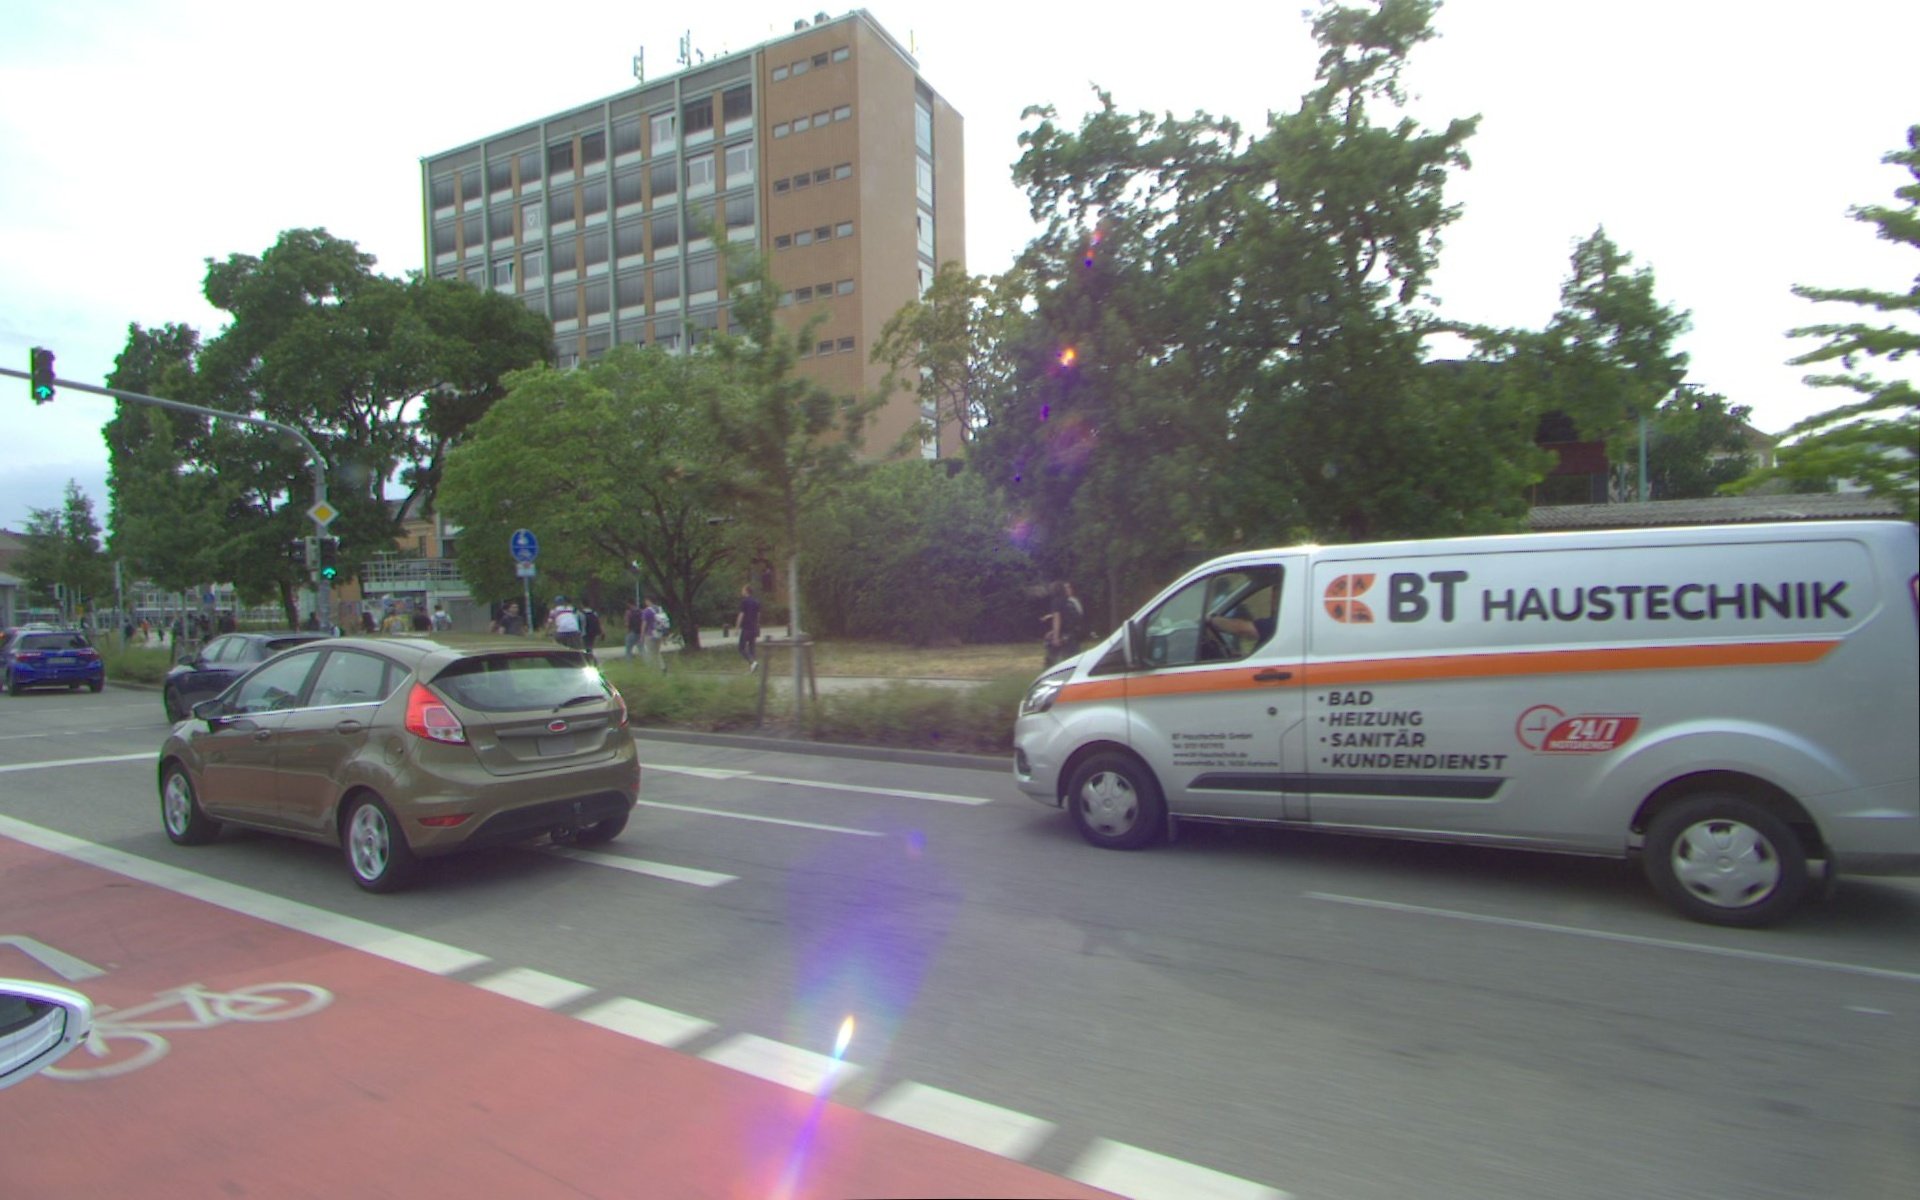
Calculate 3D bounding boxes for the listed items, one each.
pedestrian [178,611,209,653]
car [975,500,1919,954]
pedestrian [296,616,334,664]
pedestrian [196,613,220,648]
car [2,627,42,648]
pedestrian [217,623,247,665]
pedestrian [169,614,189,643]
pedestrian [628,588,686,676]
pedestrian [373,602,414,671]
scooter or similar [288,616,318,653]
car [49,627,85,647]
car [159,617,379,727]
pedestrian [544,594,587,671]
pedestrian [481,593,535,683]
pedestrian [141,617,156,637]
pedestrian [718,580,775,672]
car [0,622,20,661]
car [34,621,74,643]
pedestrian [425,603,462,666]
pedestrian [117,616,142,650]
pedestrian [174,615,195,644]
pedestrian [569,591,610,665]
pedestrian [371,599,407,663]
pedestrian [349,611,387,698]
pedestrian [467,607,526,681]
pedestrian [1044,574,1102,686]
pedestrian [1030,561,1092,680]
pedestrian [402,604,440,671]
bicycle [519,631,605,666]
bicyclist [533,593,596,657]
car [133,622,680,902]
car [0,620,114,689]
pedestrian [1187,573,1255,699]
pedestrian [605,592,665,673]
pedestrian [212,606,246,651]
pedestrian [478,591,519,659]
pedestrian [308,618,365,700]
[{"bbox_3d":[-32.335,1.341,42.253,1.014,1.733,0.776,-1,-2,35],"label":"pedestrian"},{"bbox_3d":[2.754,0.632,6.361,5.130,1.984,1.817,-1,-2,32],"label":"car"},{"bbox_3d":[-22.023,1.353,34.189,0.801,1.595,0.775,-1,2,35],"label":"pedestrian"},{"bbox_3d":[-36.037,1.456,48.008,0.769,1.595,0.807,-3,1,-32],"label":"pedestrian"},{"bbox_3d":[-67.613,2.718,72.218,1.696,1.438,3.970,1,-2,-38],"label":"car"},{"bbox_3d":[-30.354,1.832,41.761,0.801,1.733,0.776,-1,-1,35],"label":"pedestrian"},{"bbox_3d":[-44.713,1.642,57.328,0.769,1.595,0.807,-3,1,-32],"label":"pedestrian"},{"bbox_3d":[-6.153,0.646,20.336,0.789,1.733,0.835,-1,-1,35],"label":"pedestrian"},{"bbox_3d":[-14.537,0.931,25.695,0.699,1.734,0.636,-1,1,35],"label":"pedestrian"},{"bbox_3d":[-25.211,1.328,38.415,1.128,1.388,0.398,-1,-1,22],"label":"scooter or similar"},{"bbox_3d":[-64.577,2.665,72.441,1.689,1.438,3.672,1,-2,-38],"label":"car"},{"bbox_3d":[-10.789,1.064,15.578,3.585,1.527,1.662,-2,-2,35],"label":"car"},{"bbox_3d":[-9.102,0.757,23.096,0.699,1.733,0.636,-1,-1,35],"label":"pedestrian"},{"bbox_3d":[-8.956,0.748,19.830,0.684,1.733,0.730,-1,-1,35],"label":"pedestrian"},{"bbox_3d":[-65.535,2.176,80.911,0.769,1.595,0.807,-3,1,-32],"label":"pedestrian"},{"bbox_3d":[-4.369,0.546,20.501,0.789,1.831,0.835,-1,-1,35],"label":"pedestrian"},{"bbox_3d":[-37.179,1.558,37.822,2.114,1.438,3.672,1,-2,-38],"label":"car"},{"bbox_3d":[-60.213,2.147,66.567,1.689,1.438,3.672,1,-2,-38],"label":"car"},{"bbox_3d":[-14.327,0.953,27.794,0.699,1.733,0.636,-1,0,35],"label":"pedestrian"},{"bbox_3d":[-40.957,1.624,49.379,0.769,1.595,0.807,-3,1,-32],"label":"pedestrian"},{"bbox_3d":[-43.460,1.649,56.143,0.769,1.595,0.807,-3,1,-32],"label":"pedestrian"},{"bbox_3d":[-8.786,0.668,23.741,0.699,1.733,0.636,-1,-1,35],"label":"pedestrian"},{"bbox_3d":[-16.922,0.908,29.676,0.699,1.877,0.636,-1,1,35],"label":"pedestrian"},{"bbox_3d":[-12.001,1.090,20.302,0.580,1.733,0.478,-1,-1,37],"label":"pedestrian"},{"bbox_3d":[-10.335,0.962,22.321,0.789,1.564,0.834,-1,3,35],"label":"pedestrian"},{"bbox_3d":[1.813,0.484,16.045,0.785,1.733,0.839,-1,-1,17],"label":"pedestrian"},{"bbox_3d":[1.541,0.318,15.165,0.785,1.733,0.839,-1,-1,17],"label":"pedestrian"},{"bbox_3d":[-14.151,0.983,26.287,0.699,1.733,0.636,-1,-1,35],"label":"pedestrian"},{"bbox_3d":[-8.395,1.019,21.099,1.820,0.702,0.839,-2,-2,35],"label":"bicycle"},{"bbox_3d":[-8.319,0.536,21.068,0.999,1.293,0.835,-1,-2,35],"label":"bicyclist"},{"bbox_3d":[-3.815,0.888,6.793,3.647,1.422,1.693,-1,-2,32],"label":"car"},{"bbox_3d":[-22.310,1.316,24.667,3.960,1.552,1.848,-2,-2,44],"label":"car"},{"bbox_3d":[3.723,0.517,14.261,0.787,1.733,0.712,-1,-1,28],"label":"pedestrian"},{"bbox_3d":[-7.177,0.715,22.134,0.999,1.733,0.835,-1,-2,35],"label":"pedestrian"},{"bbox_3d":[-28.507,1.109,39.045,1.014,1.733,0.776,-1,-2,35],"label":"pedestrian"},{"bbox_3d":[-12.201,0.656,26.462,0.699,1.734,0.636,-1,2,35],"label":"pedestrian"},{"bbox_3d":[-13.499,1.262,21.677,0.829,1.733,0.794,-1,-2,37],"label":"pedestrian"}]
